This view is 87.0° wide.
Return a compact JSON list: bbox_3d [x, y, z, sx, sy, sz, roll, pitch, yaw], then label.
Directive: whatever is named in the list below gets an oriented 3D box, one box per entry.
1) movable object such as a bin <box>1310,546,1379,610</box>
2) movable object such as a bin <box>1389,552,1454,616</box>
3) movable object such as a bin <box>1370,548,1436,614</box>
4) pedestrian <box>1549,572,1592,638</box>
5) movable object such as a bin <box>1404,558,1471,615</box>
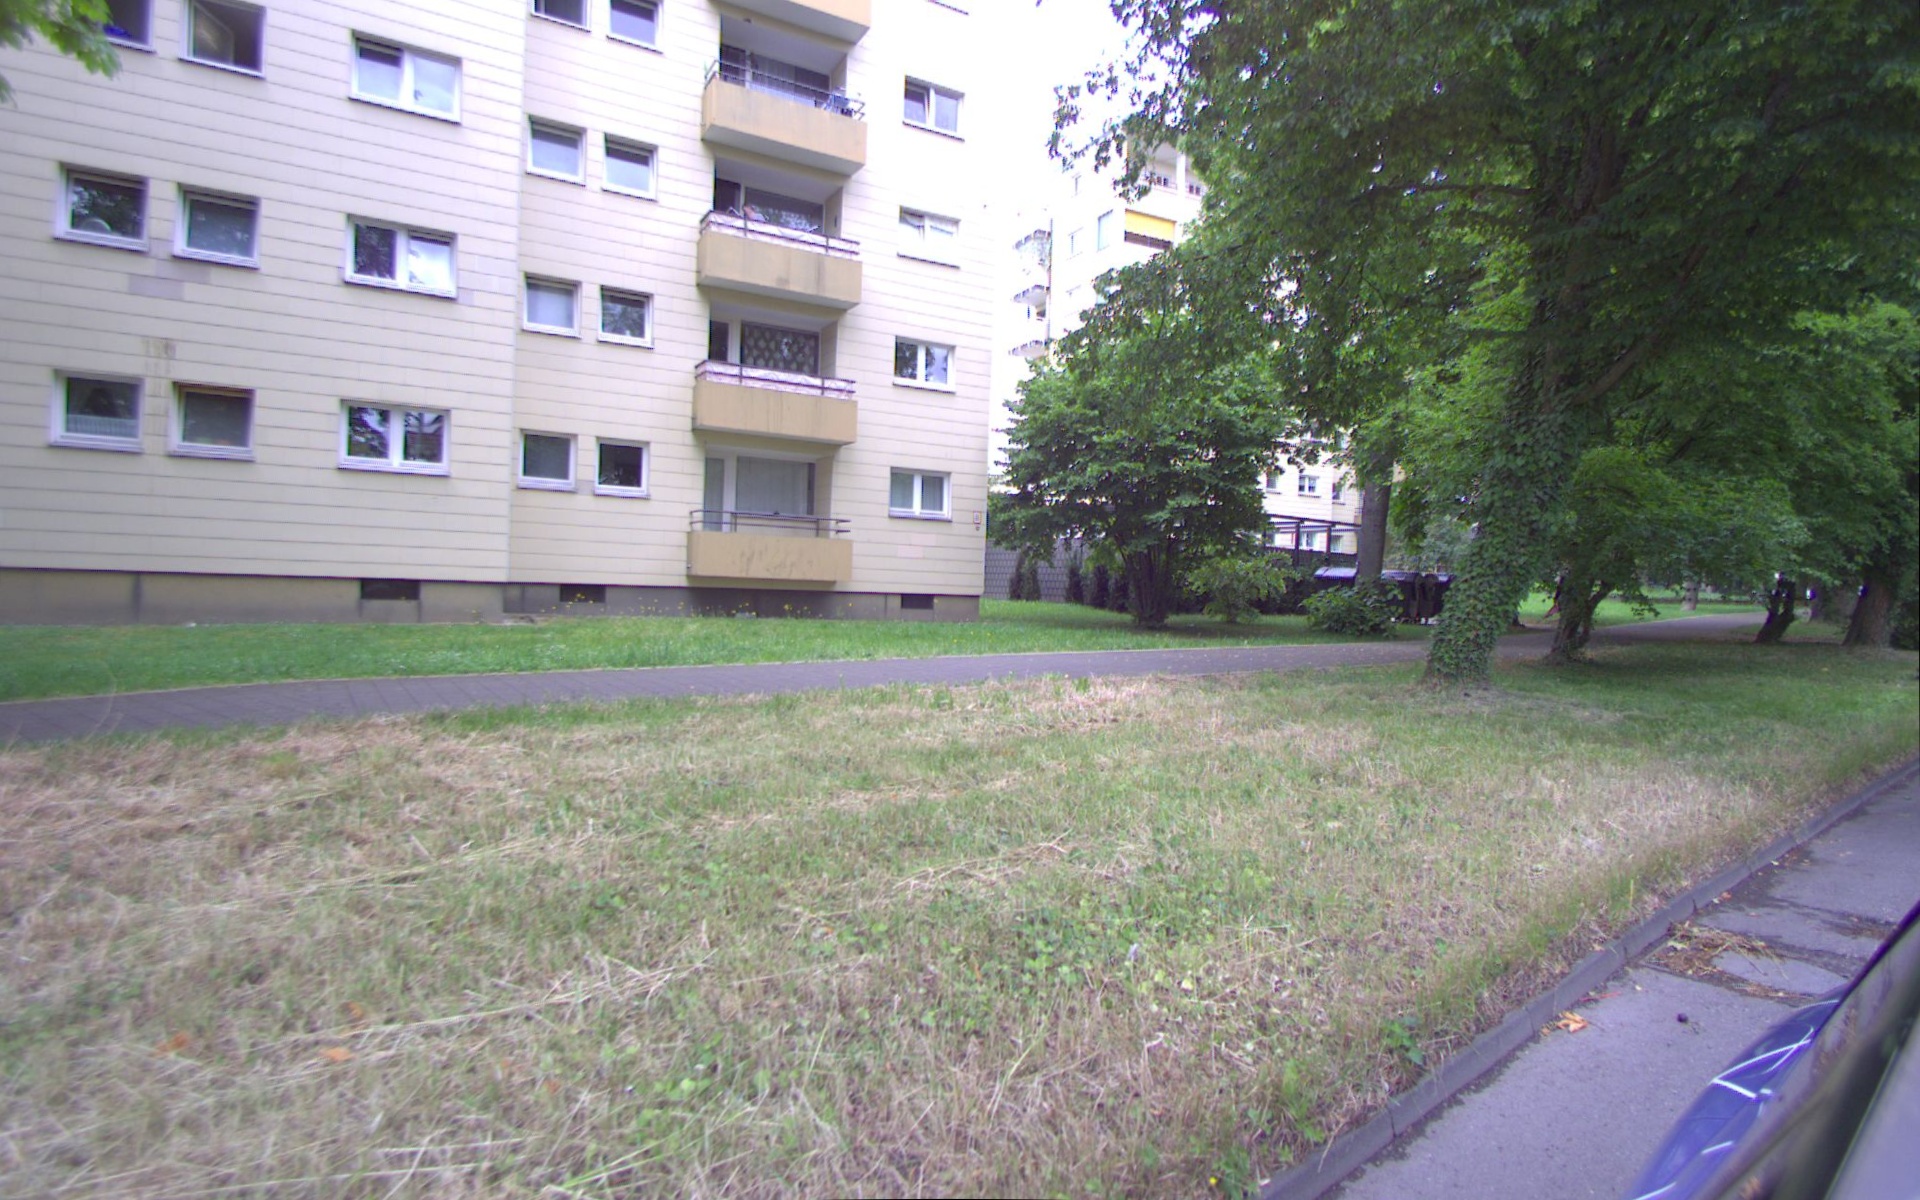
[{"bbox_3d":[10.594,-0.623,27.920,1.004,1.661,1.433,-2,5,-44],"label":"movable object such as a bin"},{"bbox_3d":[12.575,-0.459,27.593,1.058,1.661,1.238,-2,5,-44],"label":"movable object such as a bin"},{"bbox_3d":[11.703,-0.520,26.744,1.004,1.661,1.276,-2,5,-44],"label":"movable object such as a bin"},{"bbox_3d":[13.242,0.098,21.956,0.687,1.398,0.597,2,3,42],"label":"pedestrian"},{"bbox_3d":[13.417,-0.396,28.440,1.182,1.492,1.326,-2,5,-44],"label":"movable object such as a bin"}]
